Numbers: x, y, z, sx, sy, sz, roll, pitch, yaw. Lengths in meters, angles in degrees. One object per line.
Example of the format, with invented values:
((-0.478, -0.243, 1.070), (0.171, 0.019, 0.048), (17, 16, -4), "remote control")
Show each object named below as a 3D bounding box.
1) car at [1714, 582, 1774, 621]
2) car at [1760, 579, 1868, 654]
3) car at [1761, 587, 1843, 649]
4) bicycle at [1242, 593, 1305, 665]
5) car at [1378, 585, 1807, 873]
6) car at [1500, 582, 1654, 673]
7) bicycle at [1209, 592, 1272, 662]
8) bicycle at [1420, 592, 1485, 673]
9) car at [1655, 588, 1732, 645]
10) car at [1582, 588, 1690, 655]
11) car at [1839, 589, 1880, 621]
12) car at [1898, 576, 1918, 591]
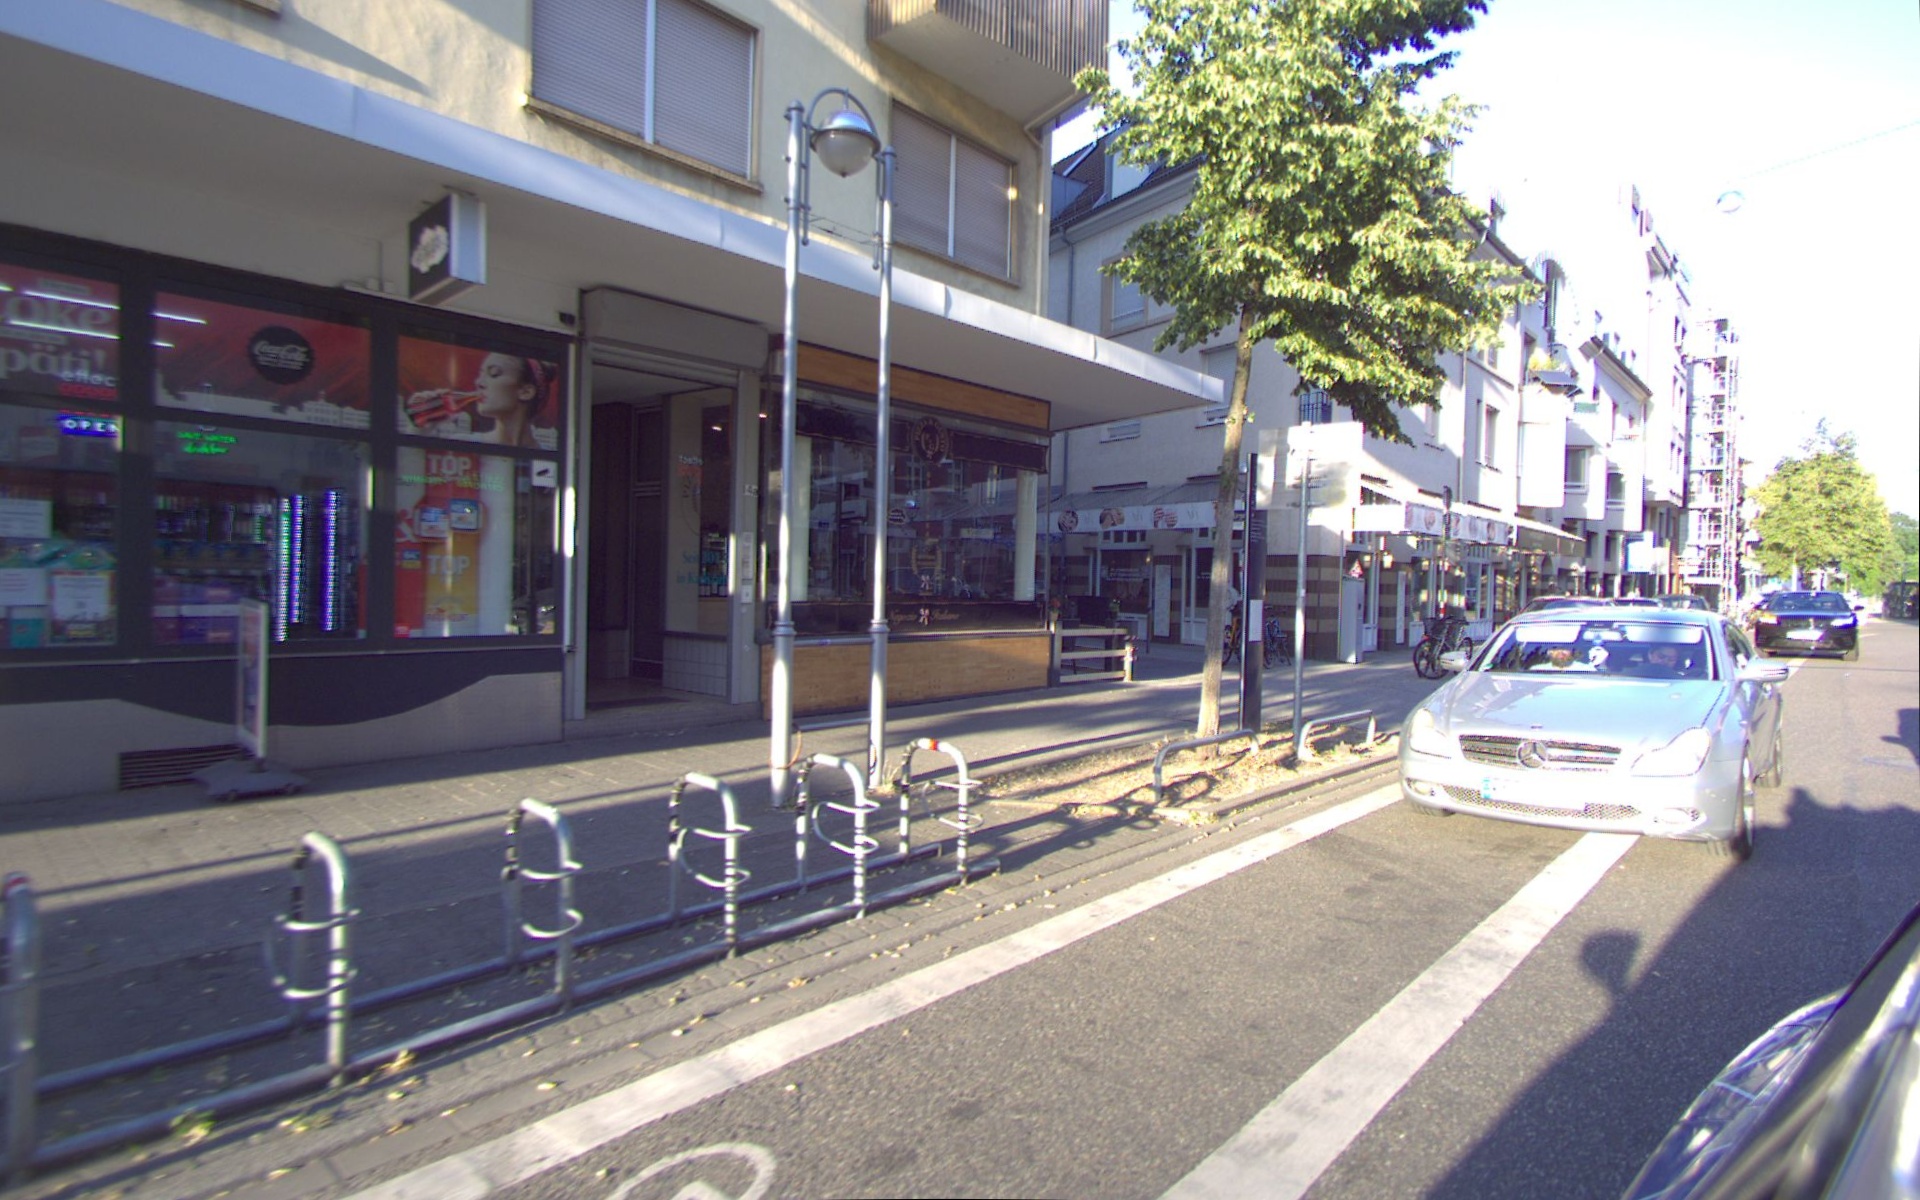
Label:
((34.893, 0.037, 45.033), (1.761, 1.591, 3.813), (2, 2, 43), "car")
((20.892, 0.340, 24.719), (1.890, 1.662, 3.692), (1, 1, 42), "car")
((23.657, 0.455, 28.426), (1.685, 1.562, 3.677), (0, 1, 41), "car")
((5.475, 0.469, 17.609), (0.330, 1.144, 1.985), (3, 3, 38), "bicycle")
((4.743, 0.608, 7.242), (1.785, 1.386, 4.502), (0, 1, 43), "car")
((11.180, 0.434, 18.221), (1.648, 1.446, 3.939), (0, 0, 42), "car")
((5.006, 0.451, 18.002), (0.330, 1.144, 1.985), (1, 2, 38), "bicycle")
((8.317, 0.515, 17.073), (0.503, 1.253, 1.686), (3, 3, 42), "bicycle")
((20.503, 0.421, 28.238), (1.426, 1.469, 3.330), (1, 1, 42), "car")
((15.431, 0.432, 23.035), (1.608, 1.411, 3.640), (0, 0, 41), "car")
((51.268, 0.267, 57.650), (1.687, 1.675, 3.677), (0, 1, 42), "car")
((112.219, -1.963, 119.837), (1.667, 1.660, 3.205), (0, 1, 43), "car")
